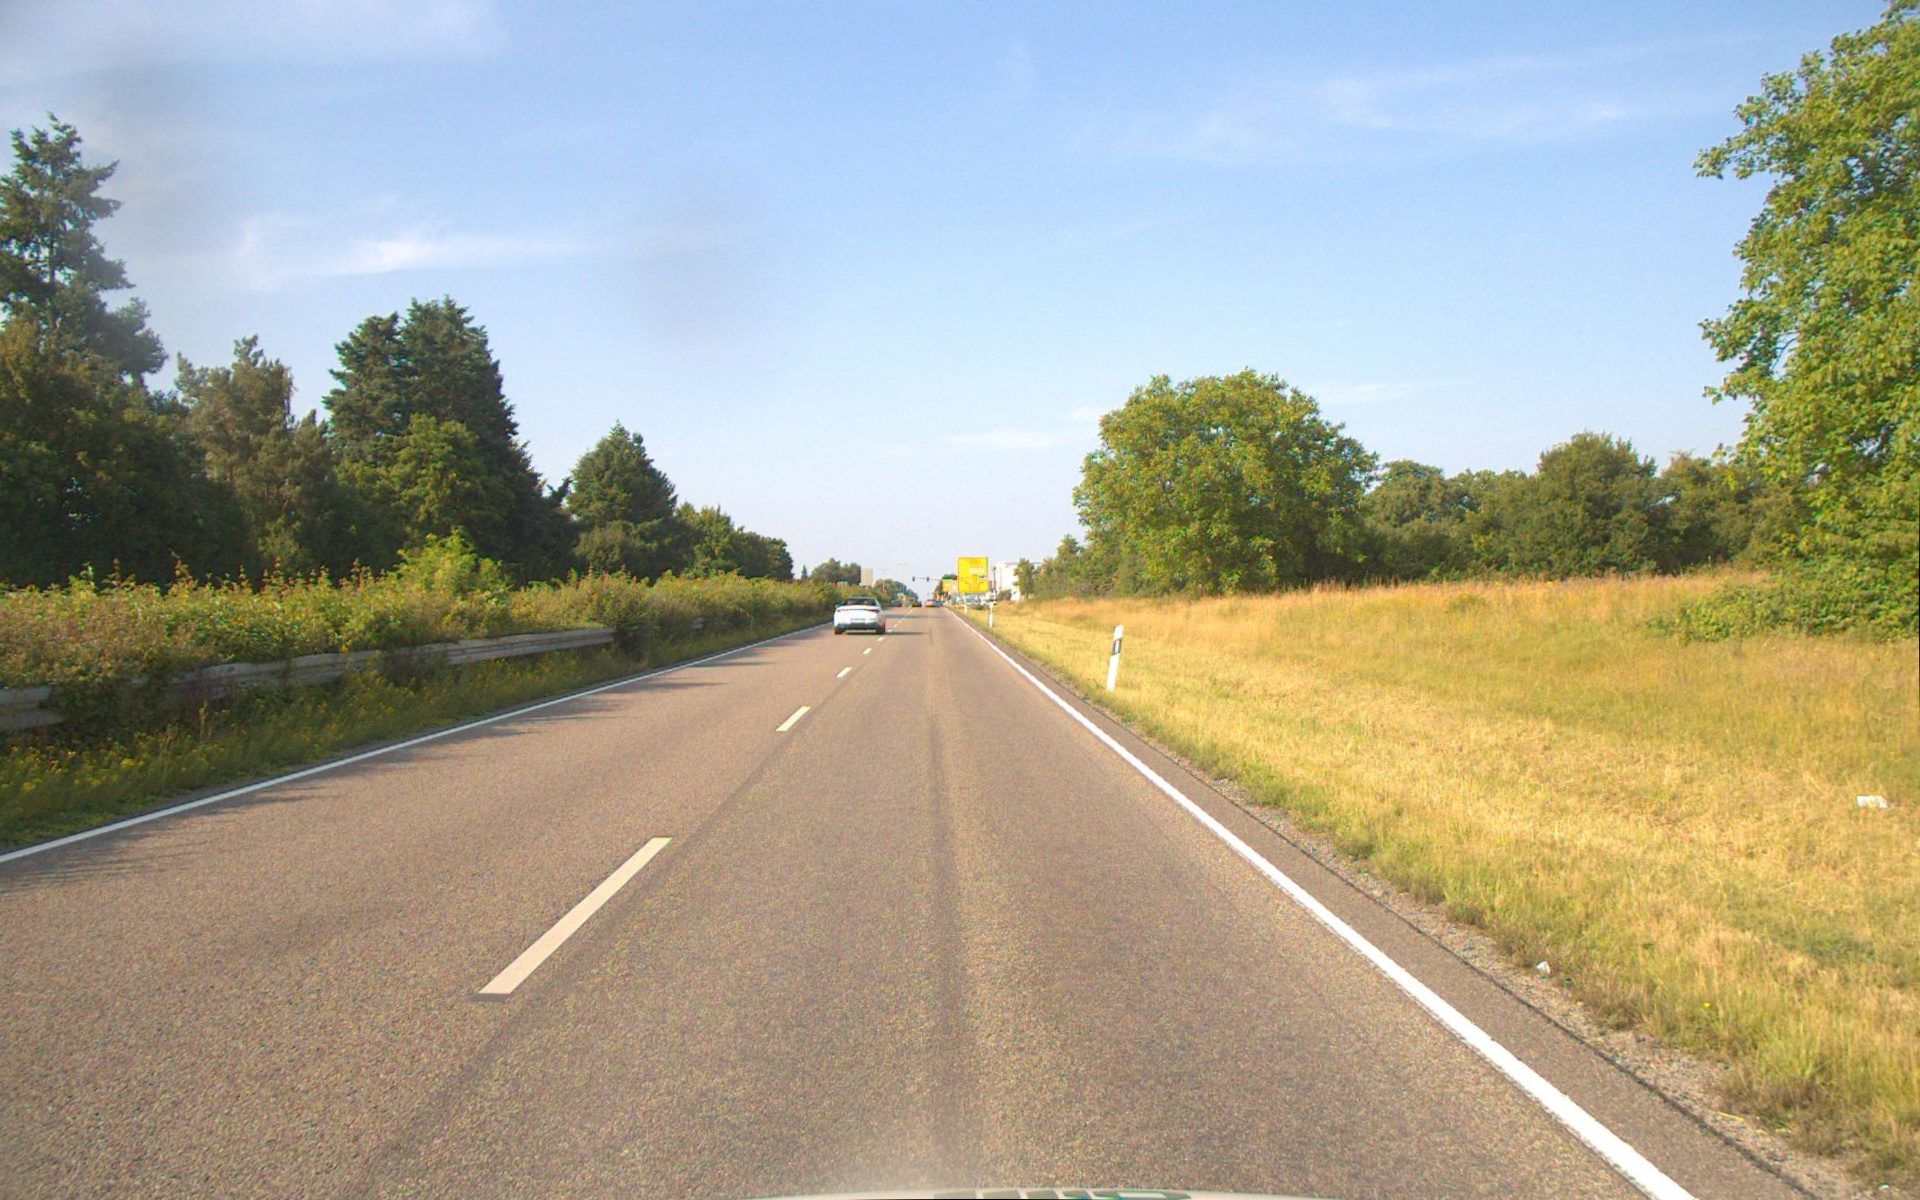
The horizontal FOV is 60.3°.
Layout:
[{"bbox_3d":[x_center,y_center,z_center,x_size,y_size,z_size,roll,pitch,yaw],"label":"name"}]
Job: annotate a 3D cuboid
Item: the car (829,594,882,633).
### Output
[{"bbox_3d":[-3.950,0.500,62.826,1.871,1.447,3.999,0,0,-2],"label":"car"}]
